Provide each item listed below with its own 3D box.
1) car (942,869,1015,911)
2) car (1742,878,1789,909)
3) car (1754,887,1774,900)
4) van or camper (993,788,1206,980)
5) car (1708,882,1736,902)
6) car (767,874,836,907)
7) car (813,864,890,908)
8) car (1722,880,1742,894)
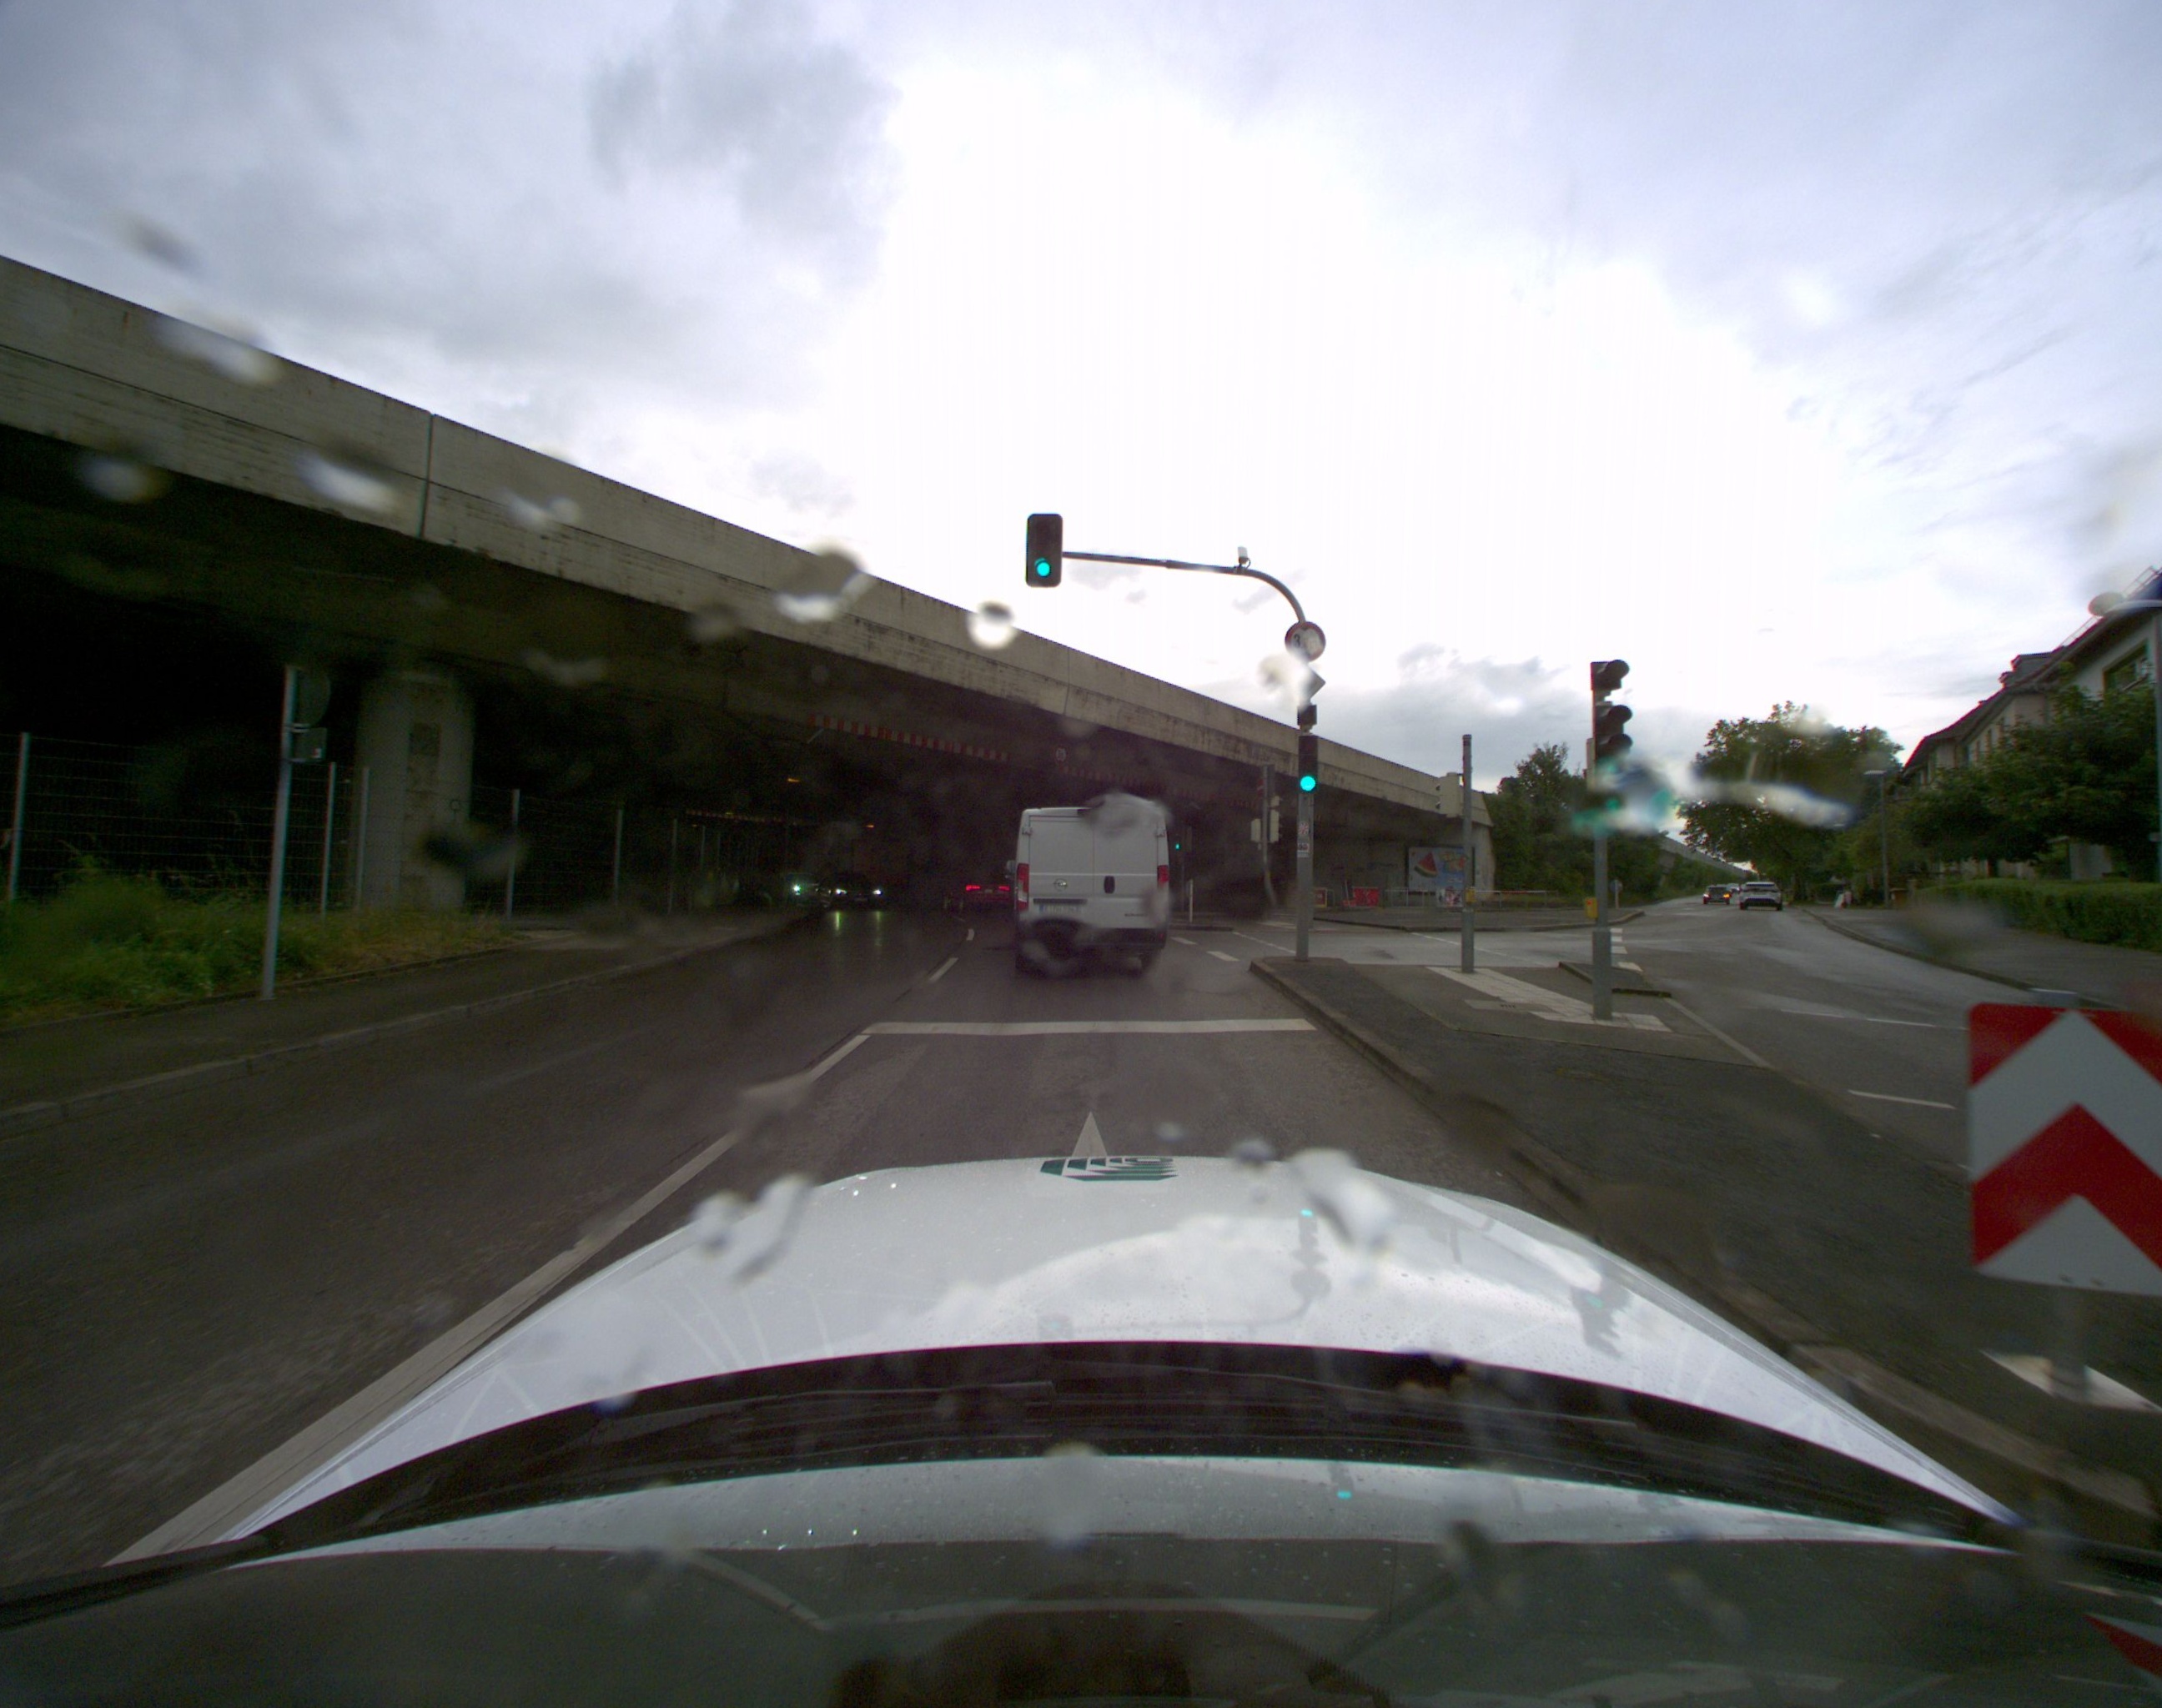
[{"bbox_3d":[-3.892,1.329,30.320,1.842,1.439,4.075,2,-2,-19],"label":"car"},{"bbox_3d":[37.383,2.111,44.495,1.857,1.530,4.024,1,-1,40],"label":"car"},{"bbox_3d":[86.742,4.990,103.465,1.857,1.530,4.025,0,-1,38],"label":"car"},{"bbox_3d":[0.035,0.415,12.852,2.694,2.417,4.894,1,-1,-5],"label":"van or camper"},{"bbox_3d":[54.606,3.235,69.365,1.746,1.580,4.260,-4,-4,38],"label":"car"},{"bbox_3d":[-13.324,1.729,38.685,2.008,1.465,4.060,2,-3,-35],"label":"car"},{"bbox_3d":[-9.192,1.230,32.389,2.005,1.530,4.460,2,0,-28],"label":"car"},{"bbox_3d":[79.761,4.025,99.779,1.857,1.530,4.025,0,-1,38],"label":"car"}]
